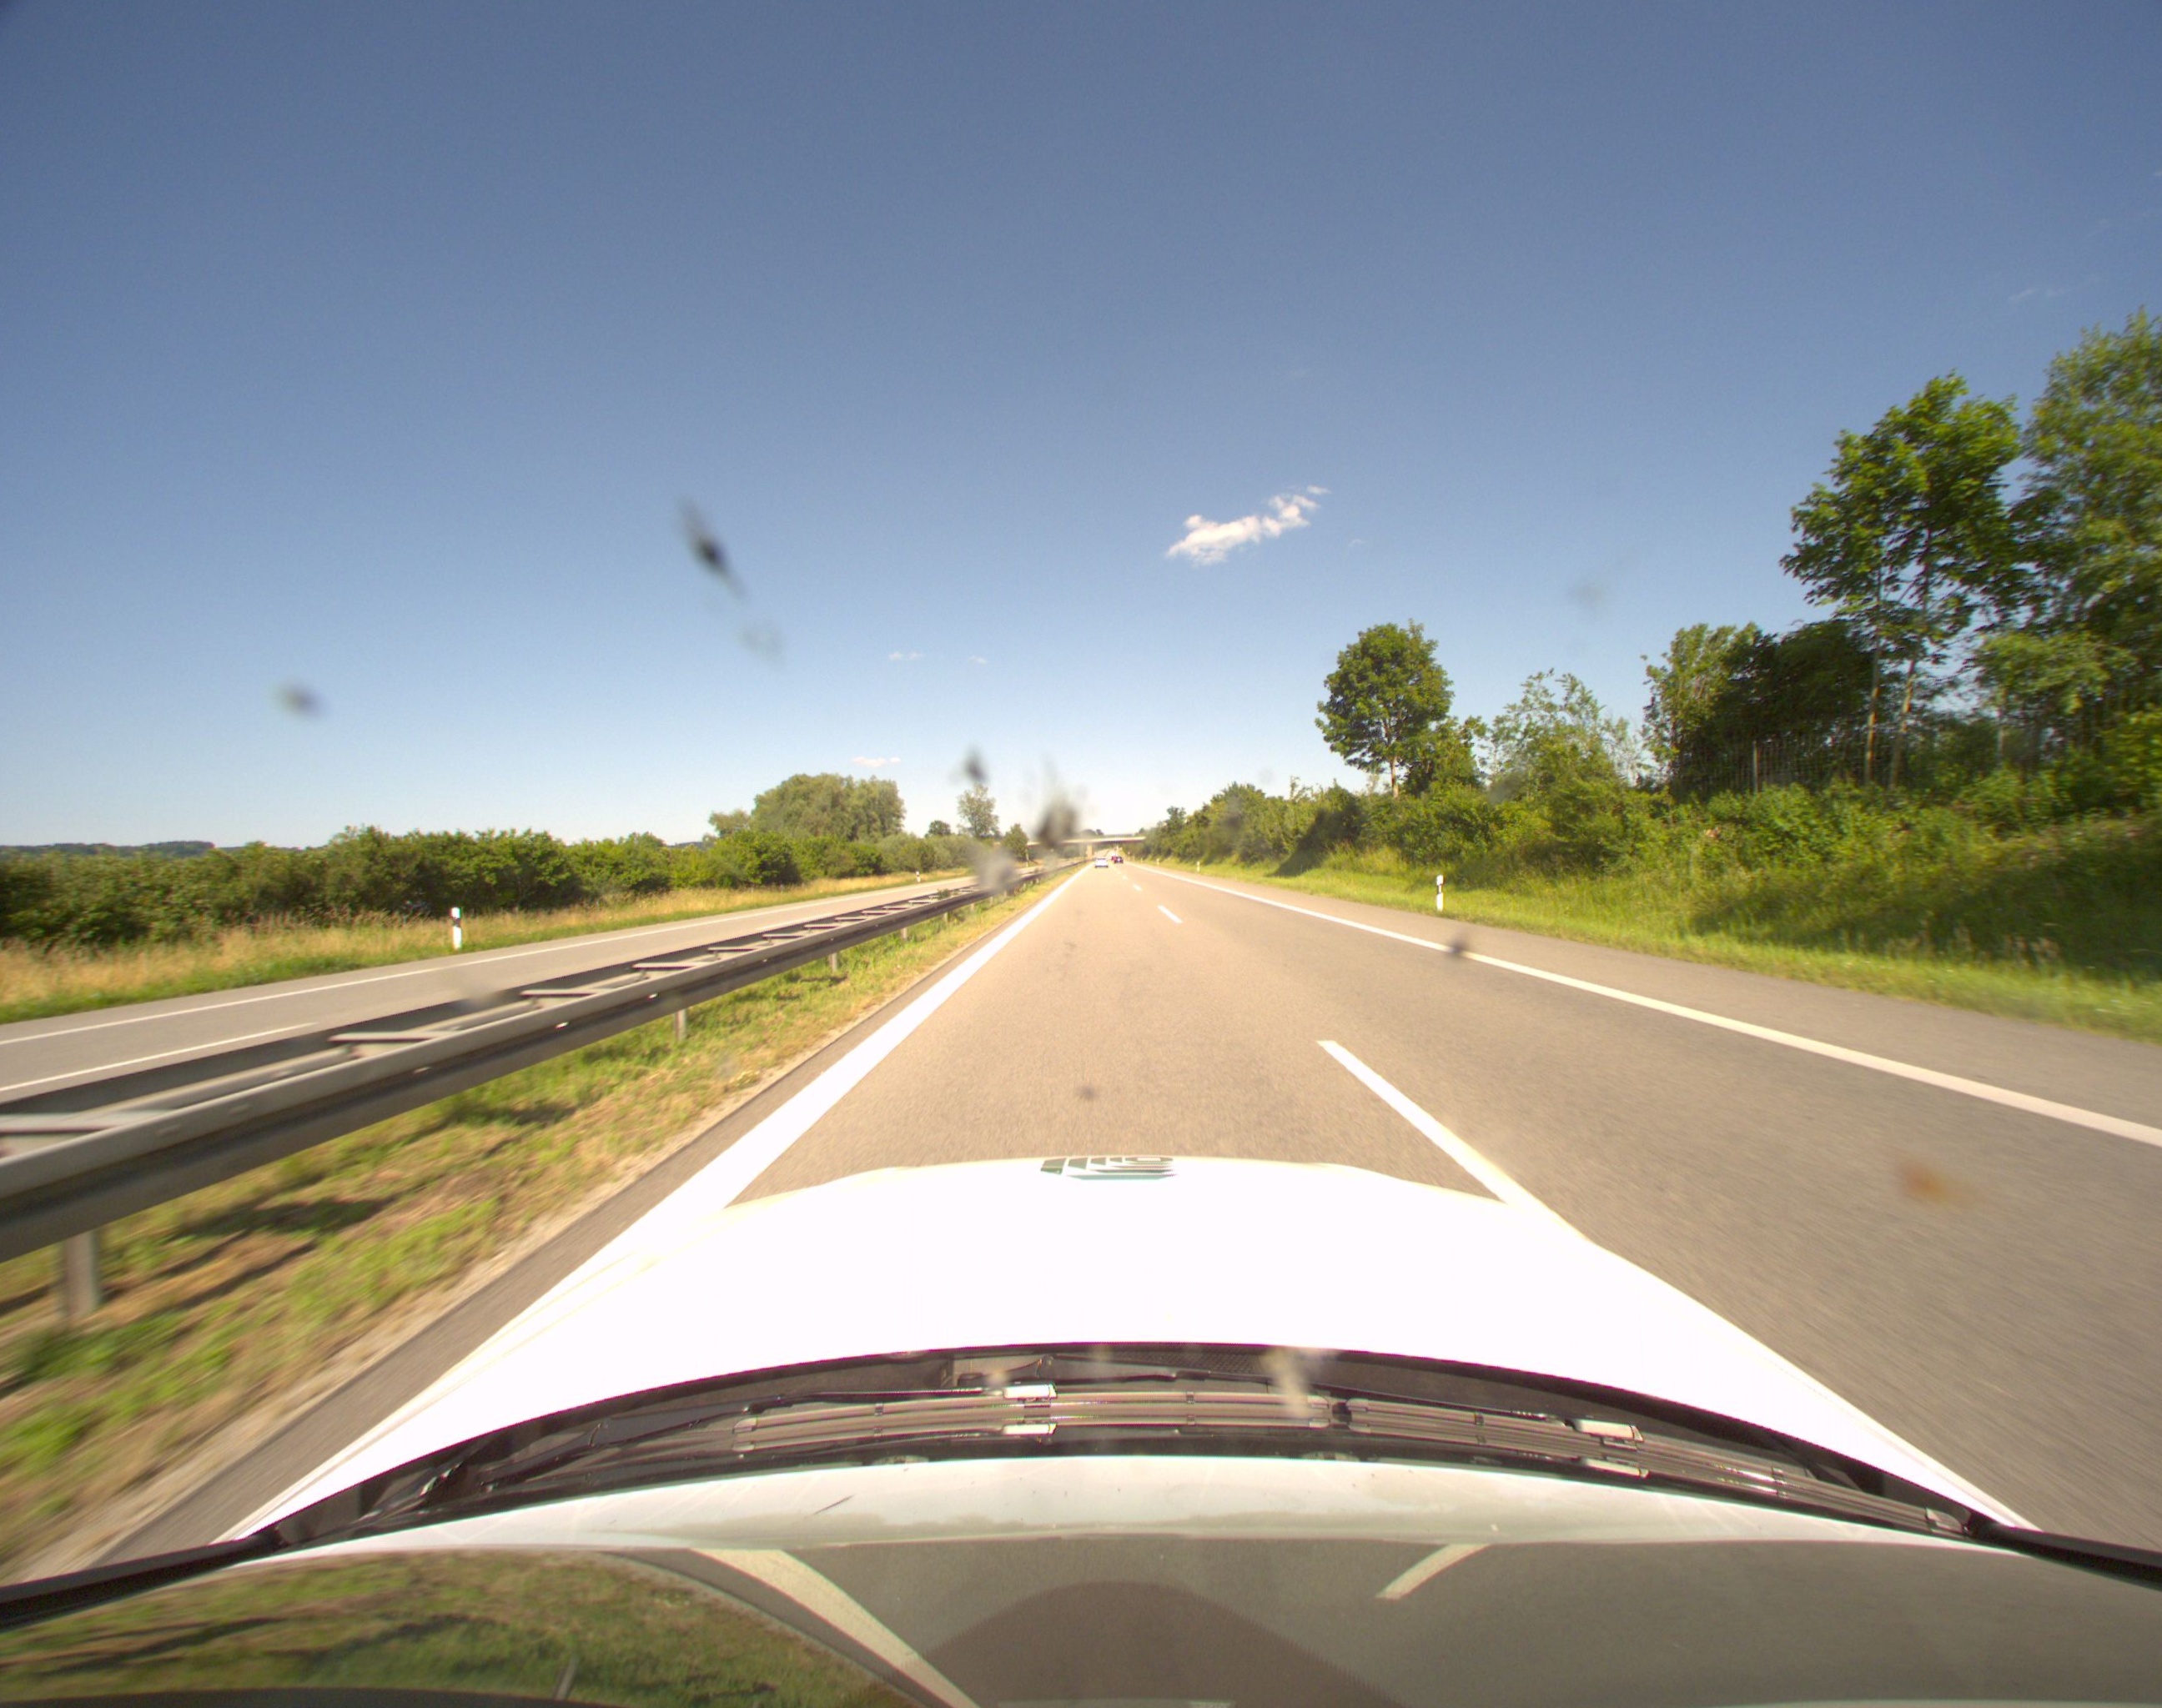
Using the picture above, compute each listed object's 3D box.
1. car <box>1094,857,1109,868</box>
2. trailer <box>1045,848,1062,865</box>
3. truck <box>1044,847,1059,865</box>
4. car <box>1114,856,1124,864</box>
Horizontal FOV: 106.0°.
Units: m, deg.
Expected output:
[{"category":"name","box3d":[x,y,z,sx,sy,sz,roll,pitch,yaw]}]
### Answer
[{"category":"car","box3d":[2.734,1.090,108.554,1.836,1.415,4.001,0,0,1]},{"category":"trailer","box3d":[-6.335,0.572,188.450,2.969,3.731,12.423,-3,0,1]},{"category":"truck","box3d":[-6.519,0.522,180.921,2.945,3.731,5.569,-3,-1,1]},{"category":"car","box3d":[7.663,1.250,163.264,1.836,1.520,4.001,0,0,1]}]
